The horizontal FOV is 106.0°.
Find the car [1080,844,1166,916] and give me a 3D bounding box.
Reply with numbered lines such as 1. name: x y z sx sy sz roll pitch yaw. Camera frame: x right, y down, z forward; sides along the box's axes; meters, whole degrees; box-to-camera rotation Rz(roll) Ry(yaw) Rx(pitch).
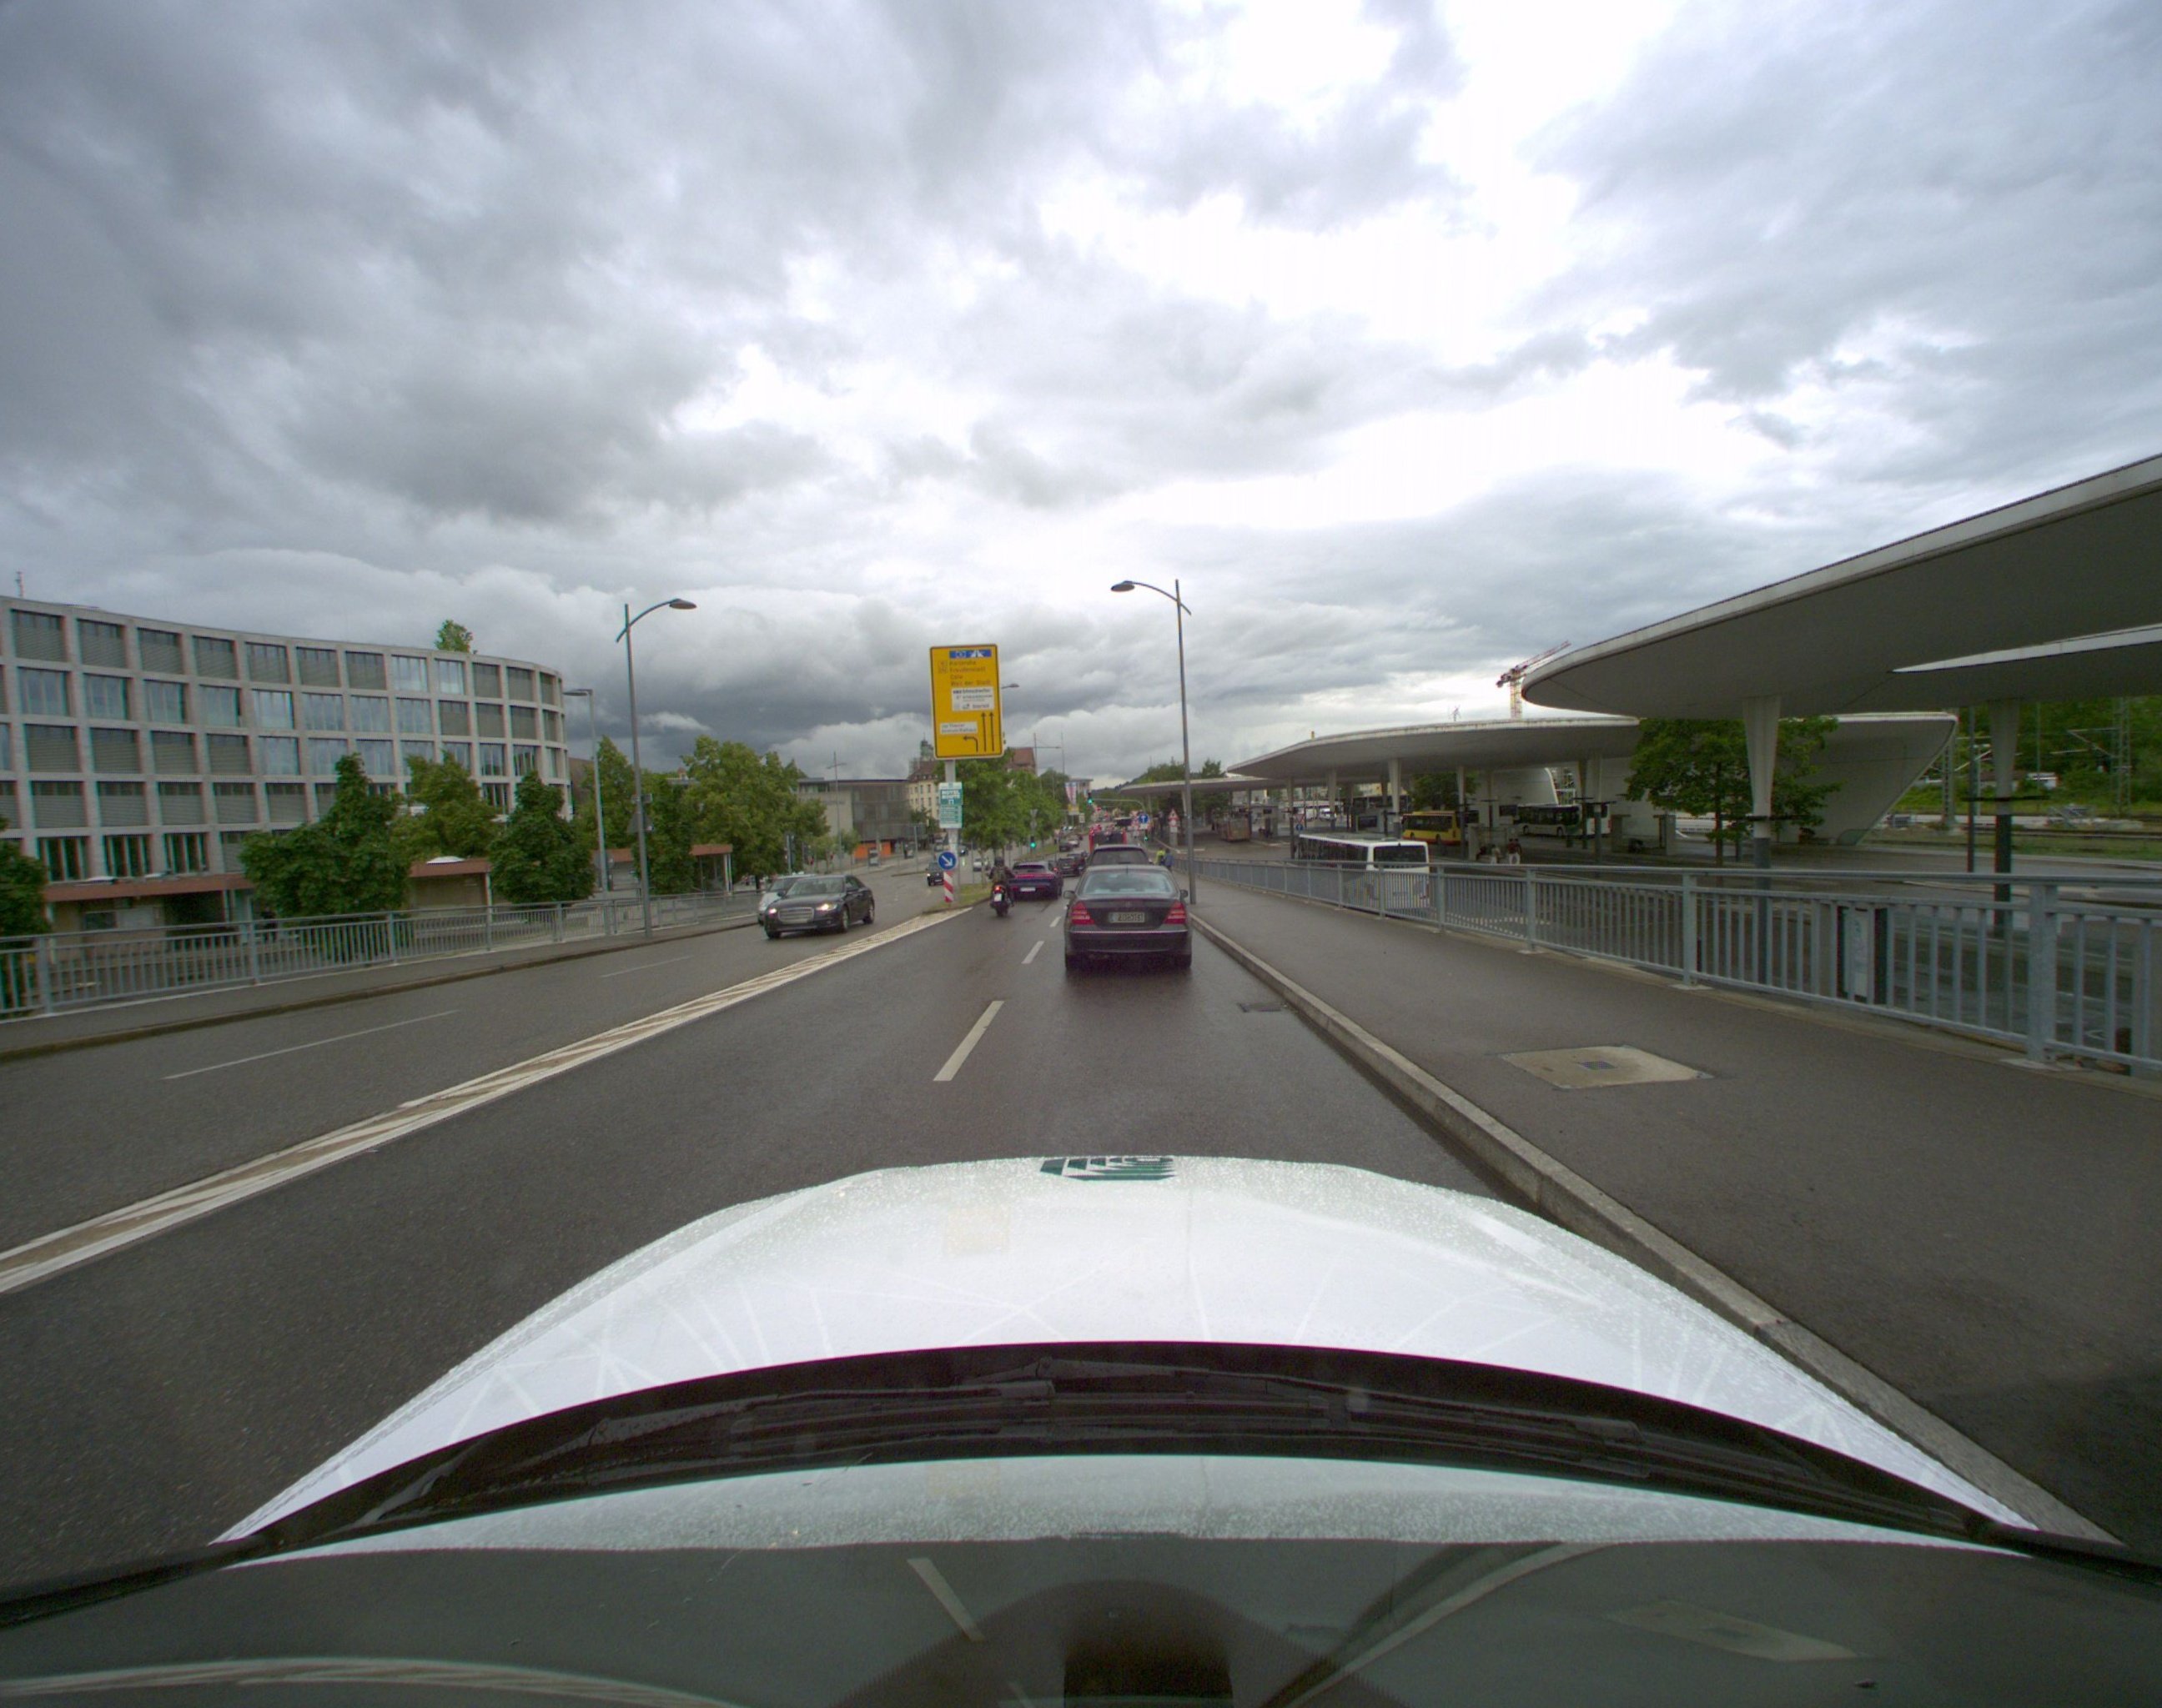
1. car: 1.204 0.596 21.251 1.816 1.687 4.010 -1 1 9

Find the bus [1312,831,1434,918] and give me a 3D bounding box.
1. bus: 12.727 0.717 36.177 2.639 3.236 7.069 -3 3 -1

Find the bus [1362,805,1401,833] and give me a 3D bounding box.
1. bus: 37.428 -4.394 101.692 2.589 3.209 7.002 -3 2 4

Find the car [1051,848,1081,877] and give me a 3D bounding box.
1. car: -1.032 0.593 59.442 1.986 2.006 4.001 -1 1 1

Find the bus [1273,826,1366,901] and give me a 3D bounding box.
1. bus: 12.502 0.349 43.306 2.639 3.235 7.070 -3 4 -1

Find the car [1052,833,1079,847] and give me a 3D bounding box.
1. car: -2.413 -2.202 128.171 3.967 2.013 2.004 -3 1 6

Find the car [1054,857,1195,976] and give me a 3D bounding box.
1. car: 0.672 0.770 11.823 1.698 1.419 3.730 -1 0 4

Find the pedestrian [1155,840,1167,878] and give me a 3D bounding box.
1. pedestrian: 4.311 0.286 43.899 0.487 2.014 0.470 -3 -2 4

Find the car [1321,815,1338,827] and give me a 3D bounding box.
1. car: 47.239 -6.244 154.772 1.986 2.013 4.002 -3 2 1

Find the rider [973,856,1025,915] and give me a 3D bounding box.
1. rider: -2.152 0.808 21.711 0.876 1.472 2.201 -1 0 8

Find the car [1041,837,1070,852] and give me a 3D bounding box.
1. car: -3.696 -1.404 118.322 3.967 2.013 2.004 -3 1 6

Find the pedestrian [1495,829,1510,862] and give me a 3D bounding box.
1. pedestrian: 26.268 -0.538 50.761 0.558 2.013 0.484 -3 0 4

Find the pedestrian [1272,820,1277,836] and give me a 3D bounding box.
1. pedestrian: 25.284 -3.428 106.464 0.422 2.014 0.484 -3 -2 4

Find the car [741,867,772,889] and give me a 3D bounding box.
1. car: -32.435 2.376 81.401 2.008 2.013 3.958 2 1 -35

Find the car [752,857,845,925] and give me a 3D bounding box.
1. car: -9.480 1.165 27.701 1.991 2.013 3.992 -3 0 -6

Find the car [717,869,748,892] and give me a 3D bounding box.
1. car: -34.228 2.604 79.880 2.008 2.013 3.958 2 1 -35

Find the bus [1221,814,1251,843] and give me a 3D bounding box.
1. bus: 20.793 -3.376 109.670 3.161 3.600 10.532 -3 0 7

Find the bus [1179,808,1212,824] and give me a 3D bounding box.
1. bus: 26.461 -8.832 188.531 7.179 3.396 3.080 -3 2 -2

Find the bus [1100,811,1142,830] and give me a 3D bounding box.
1. bus: 8.937 -7.541 183.576 3.282 4.006 10.773 -6 5 -36

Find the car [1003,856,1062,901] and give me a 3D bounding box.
1. car: -1.701 0.856 29.793 1.753 1.436 4.002 -1 1 2

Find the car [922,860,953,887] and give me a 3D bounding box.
1. car: -11.729 1.571 66.793 1.990 2.014 4.195 -3 -1 -5

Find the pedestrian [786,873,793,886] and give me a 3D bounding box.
1. pedestrian: -20.284 1.744 56.616 0.299 0.873 0.299 -3 2 4

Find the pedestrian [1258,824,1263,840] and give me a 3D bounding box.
1. pedestrian: 22.659 -2.827 102.854 0.422 2.013 0.484 -3 0 4

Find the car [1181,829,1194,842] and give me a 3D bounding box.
1. car: 17.730 -3.136 135.120 1.983 2.013 4.009 -3 1 7

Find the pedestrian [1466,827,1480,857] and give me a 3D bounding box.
1. pedestrian: 26.397 -0.820 54.855 0.541 2.013 0.580 -3 0 2

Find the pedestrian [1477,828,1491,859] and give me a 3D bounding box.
1. pedestrian: 26.449 -0.681 53.484 0.541 2.013 0.580 -3 0 2

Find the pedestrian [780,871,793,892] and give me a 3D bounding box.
1. pedestrian: -20.462 1.903 56.586 0.645 1.408 0.531 -3 2 4

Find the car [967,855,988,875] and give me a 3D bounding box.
1. car: -11.174 1.218 88.073 1.990 2.014 4.195 -3 -1 -5

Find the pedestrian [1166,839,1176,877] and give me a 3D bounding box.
1. pedestrian: 4.841 0.202 43.934 0.422 2.014 0.484 -3 -2 4

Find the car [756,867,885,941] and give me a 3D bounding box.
1. car: -6.573 1.188 21.101 1.827 1.526 4.592 -3 0 -1

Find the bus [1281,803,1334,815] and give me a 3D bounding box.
1. bus: 46.448 -9.241 167.129 10.139 2.013 2.169 -3 1 -2

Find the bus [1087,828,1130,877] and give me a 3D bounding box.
1. bus: 1.989 -0.147 59.519 2.817 3.189 10.313 -1 0 2

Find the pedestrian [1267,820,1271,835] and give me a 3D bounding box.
1. pedestrian: 25.365 -3.631 109.979 0.422 2.013 0.484 -3 0 4
